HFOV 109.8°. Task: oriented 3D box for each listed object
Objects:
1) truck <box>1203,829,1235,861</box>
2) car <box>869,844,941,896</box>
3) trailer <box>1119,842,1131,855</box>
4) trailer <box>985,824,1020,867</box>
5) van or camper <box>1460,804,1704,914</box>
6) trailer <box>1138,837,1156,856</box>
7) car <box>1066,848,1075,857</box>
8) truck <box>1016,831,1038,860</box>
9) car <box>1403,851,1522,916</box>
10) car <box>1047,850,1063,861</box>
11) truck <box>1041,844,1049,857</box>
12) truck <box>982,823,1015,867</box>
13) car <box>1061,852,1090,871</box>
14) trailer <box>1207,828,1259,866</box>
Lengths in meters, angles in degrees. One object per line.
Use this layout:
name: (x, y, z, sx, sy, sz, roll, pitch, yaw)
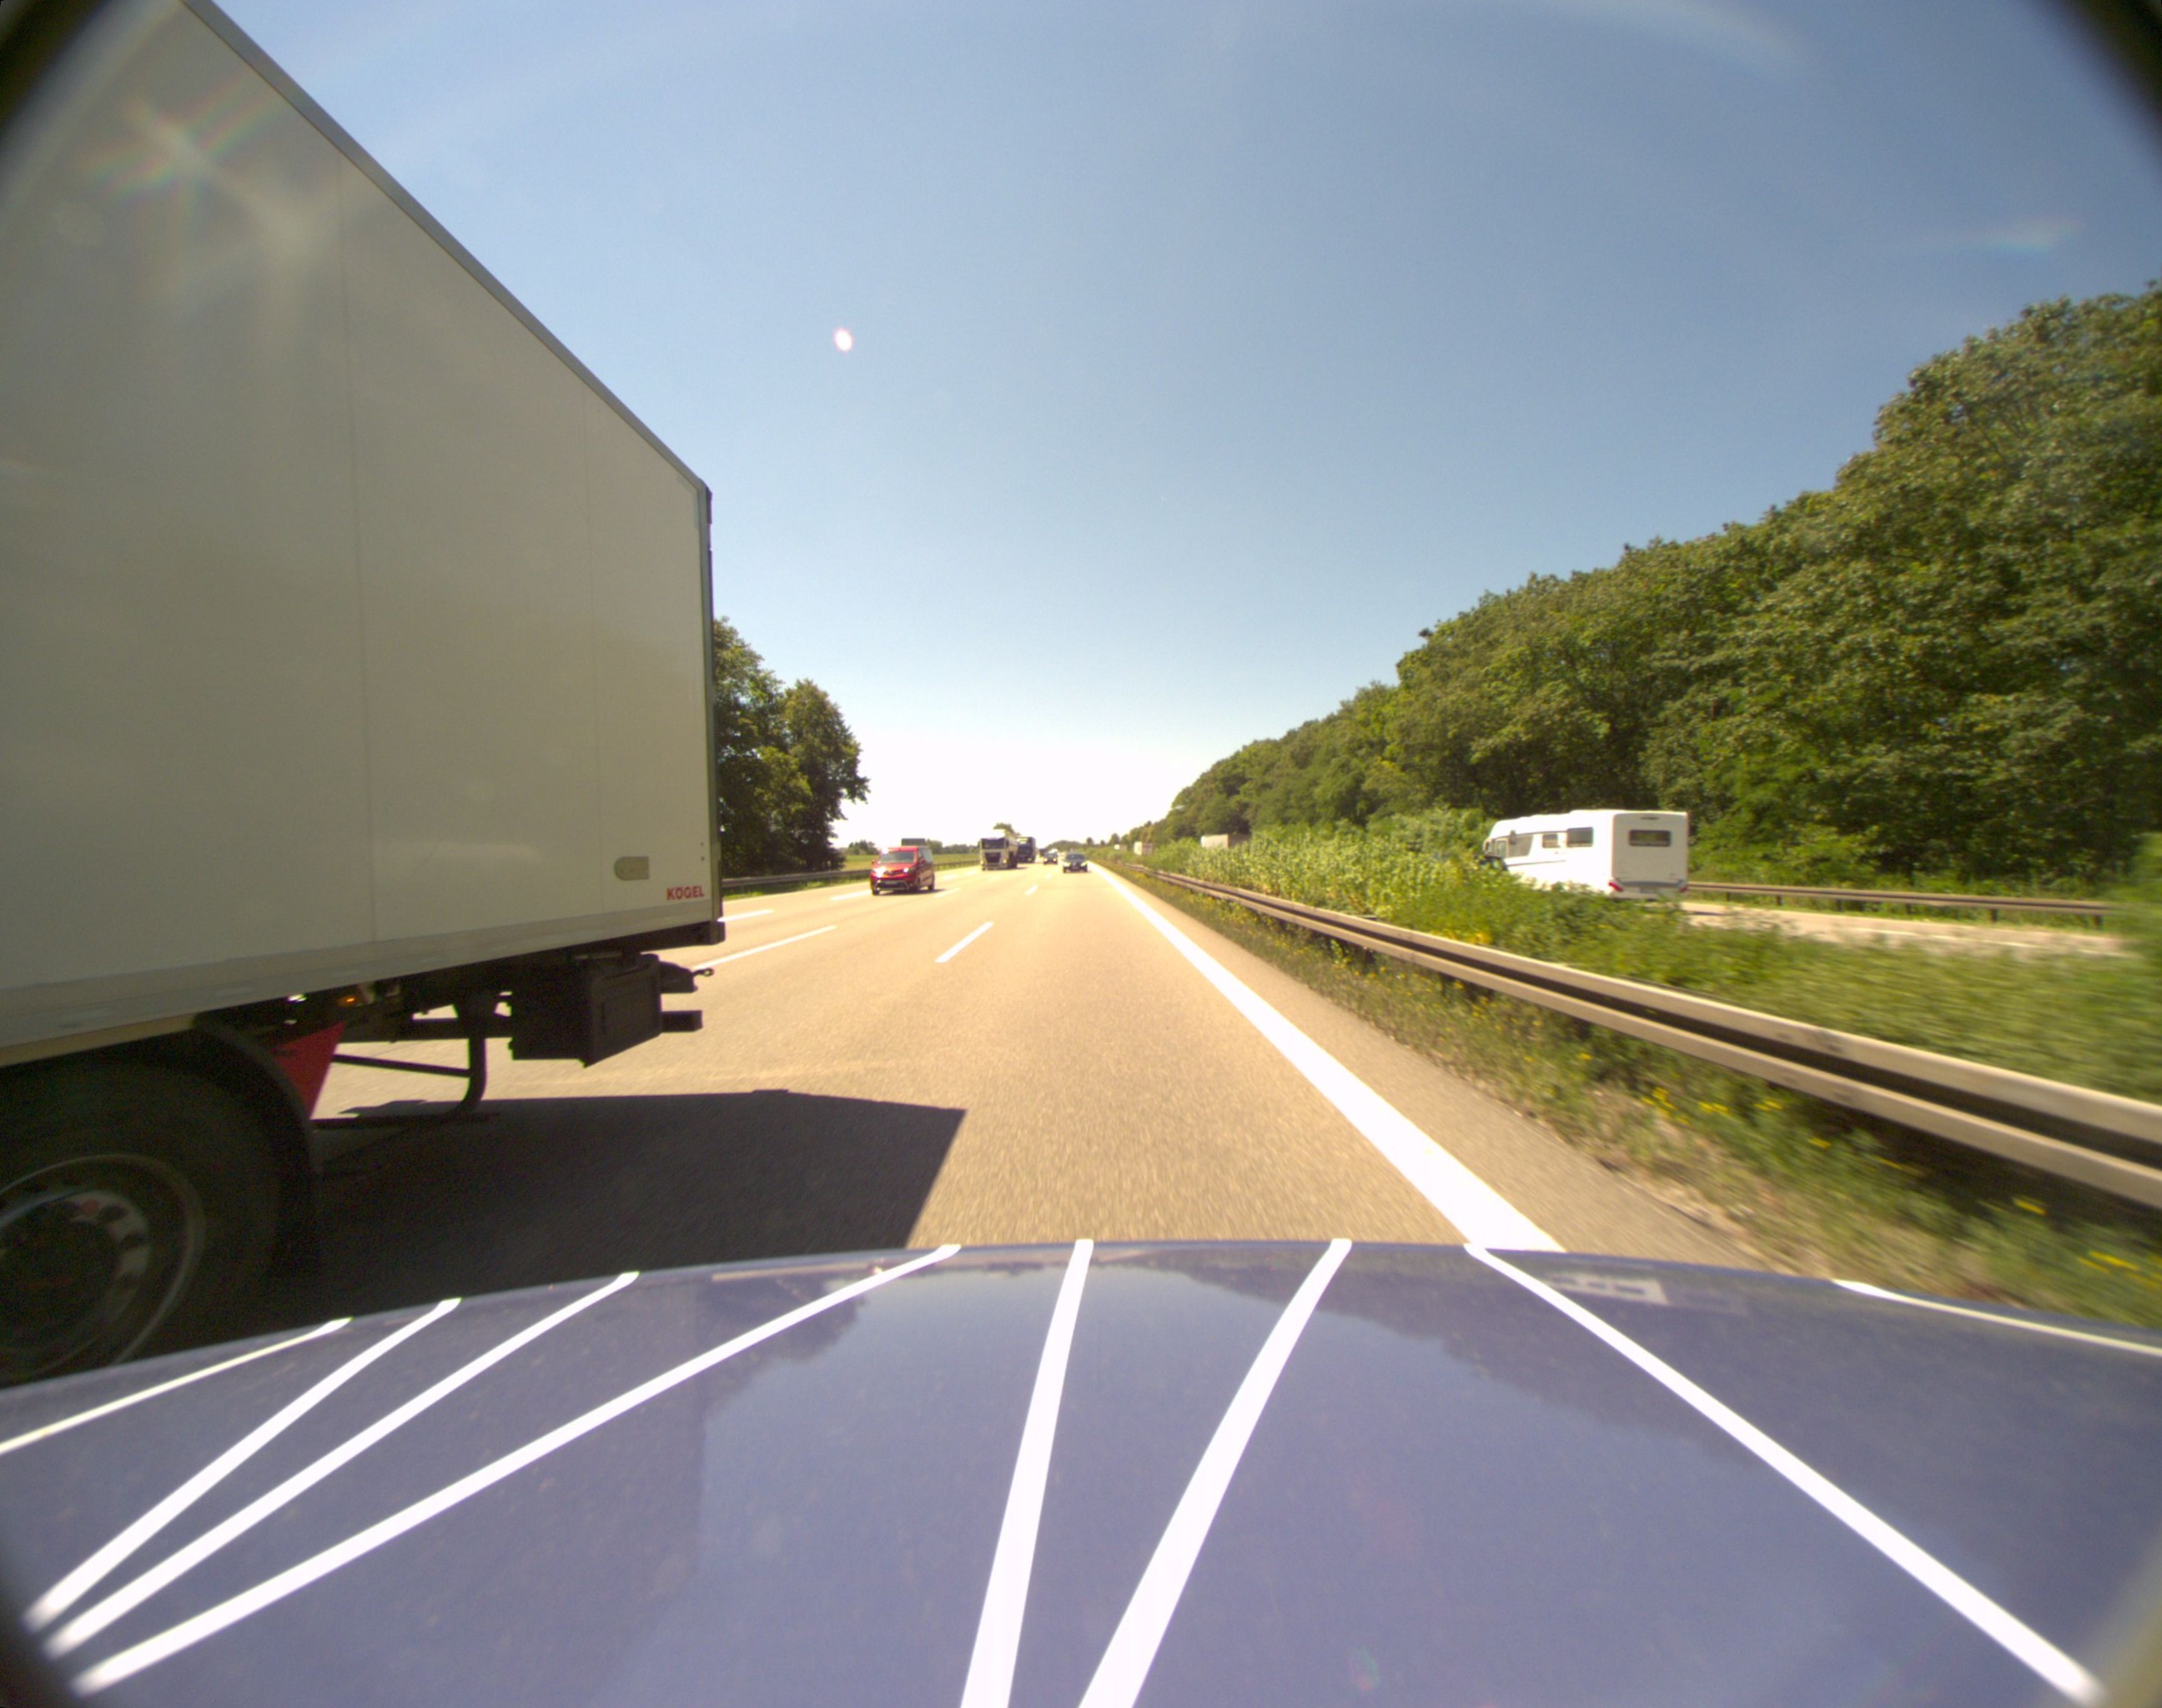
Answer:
truck: (16.649, -1.067, 91.927, 2.789, 3.801, 4.883, -1, 1, -1)
car: (-7.464, 0.594, 32.793, 1.861, 1.991, 5.520, -2, 1, -1)
trailer: (13.859, -1.885, 241.463, 2.842, 4.011, 12.911, 1, 0, -1)
trailer: (-8.318, -0.877, 81.772, 2.798, 4.180, 12.349, -1, 0, -2)
van or camper: (16.496, 0.104, 26.117, 2.426, 3.094, 9.086, -1, 0, 0)
trailer: (15.139, -1.747, 174.866, 2.928, 4.026, 12.913, -1, 0, 0)
car: (-2.629, -0.383, 182.480, 1.999, 2.002, 3.999, -1, 0, -2)
truck: (-8.195, -1.328, 115.845, 2.798, 4.180, 10.804, -1, 0, -1)
car: (12.666, 0.899, 25.533, 1.998, 2.002, 4.000, 0, 1, 1)
car: (-3.296, 0.167, 96.744, 1.841, 1.409, 4.495, -1, 0, -4)
truck: (-12.197, -1.300, 256.808, 2.798, 4.180, 10.802, -1, 0, -4)
truck: (-8.051, -0.860, 74.298, 2.798, 4.180, 4.998, -1, 1, -2)
car: (-0.452, 0.537, 57.699, 1.887, 1.341, 4.466, -1, 0, -4)
trailer: (16.690, -0.767, 84.585, 2.917, 3.855, 13.639, -1, 1, -1)
